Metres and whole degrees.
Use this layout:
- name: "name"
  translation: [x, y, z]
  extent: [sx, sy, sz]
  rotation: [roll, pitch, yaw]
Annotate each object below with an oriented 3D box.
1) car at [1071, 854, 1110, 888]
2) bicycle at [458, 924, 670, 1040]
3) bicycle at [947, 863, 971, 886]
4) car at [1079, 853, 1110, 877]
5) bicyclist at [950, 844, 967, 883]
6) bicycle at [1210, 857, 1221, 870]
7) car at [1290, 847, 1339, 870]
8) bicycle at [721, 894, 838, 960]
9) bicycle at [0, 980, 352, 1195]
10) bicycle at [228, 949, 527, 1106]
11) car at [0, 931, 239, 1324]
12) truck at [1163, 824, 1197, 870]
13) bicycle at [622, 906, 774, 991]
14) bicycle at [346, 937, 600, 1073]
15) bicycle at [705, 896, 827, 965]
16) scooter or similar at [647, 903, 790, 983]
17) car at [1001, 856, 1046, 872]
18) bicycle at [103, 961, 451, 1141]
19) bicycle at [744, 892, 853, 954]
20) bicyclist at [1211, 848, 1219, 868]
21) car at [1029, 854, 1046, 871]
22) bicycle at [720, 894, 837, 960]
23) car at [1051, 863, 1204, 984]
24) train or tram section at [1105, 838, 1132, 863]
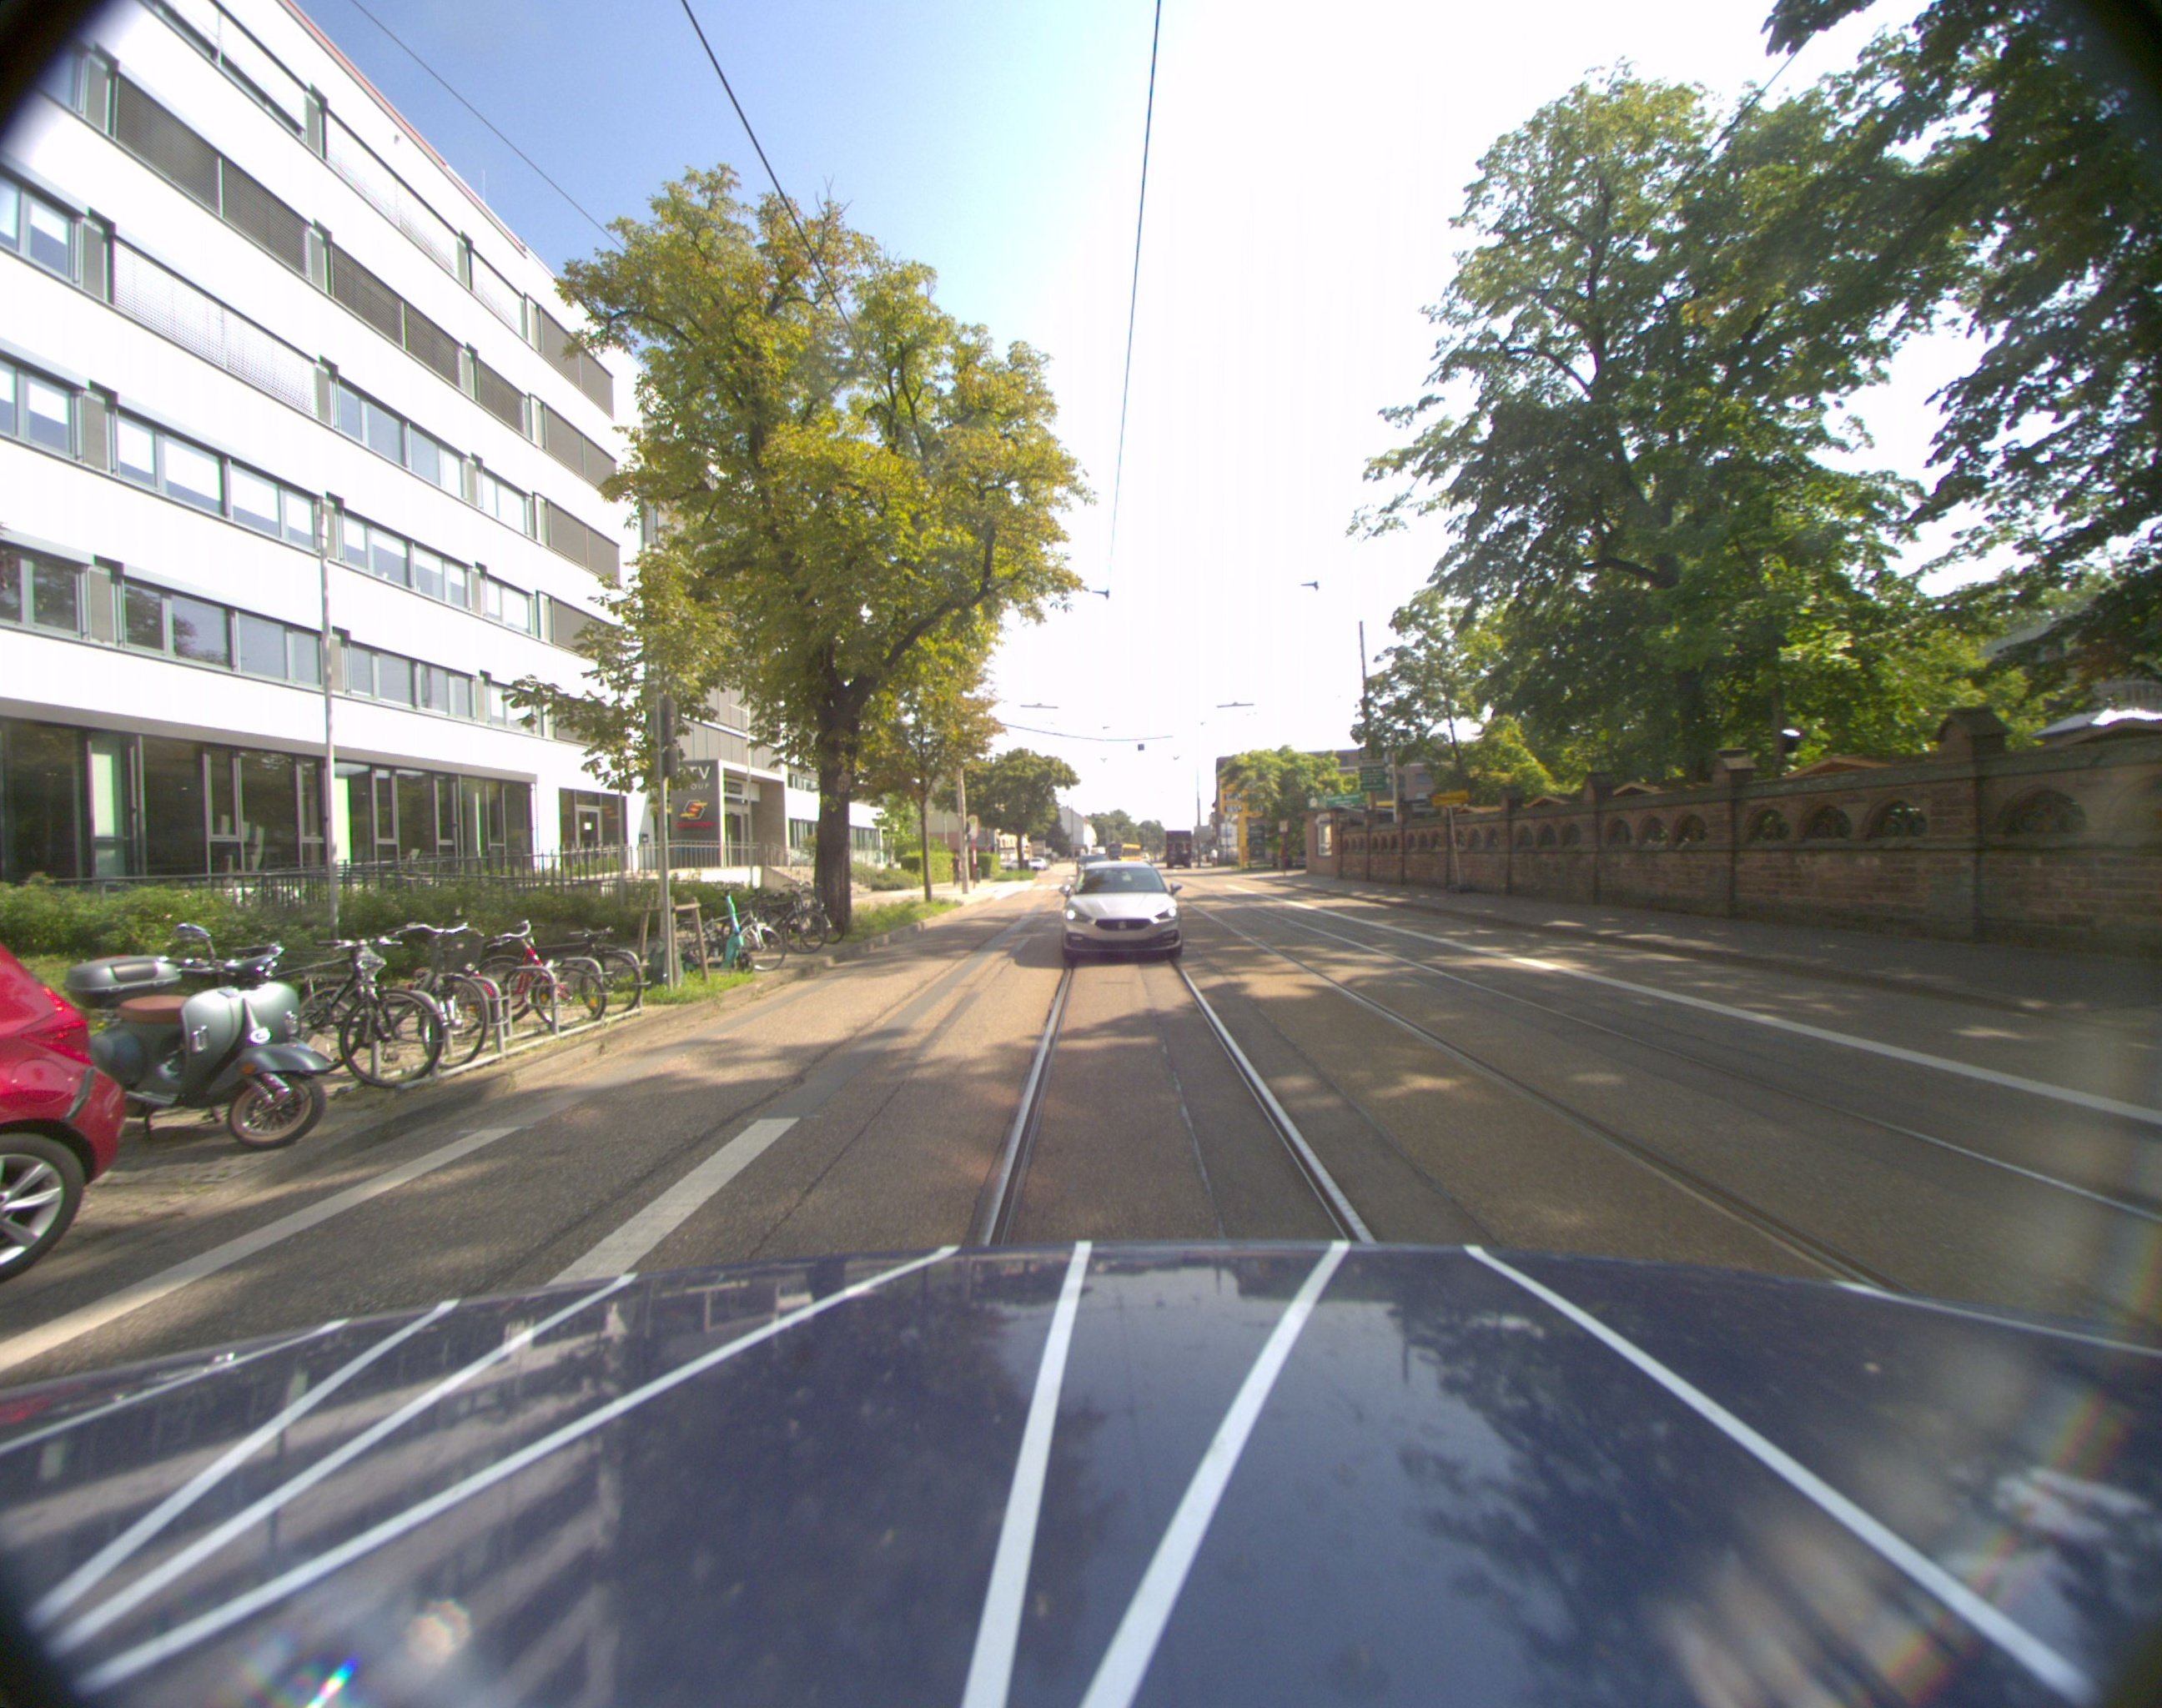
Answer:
- name: "car"
  translation: [0.514, 0.801, 38.506]
  extent: [1.834, 1.543, 4.033]
  rotation: [-2, 0, 1]
- name: "bicycle"
  translation: [-5.232, 1.286, 7.737]
  extent: [1.775, 1.065, 0.540]
  rotation: [-1, 1, 1]
- name: "bicycle"
  translation: [-6.431, 1.048, 40.031]
  extent: [1.139, 1.118, 2.534]
  rotation: [-2, 0, -9]
- name: "car"
  translation: [1.100, 0.790, 58.855]
  extent: [2.260, 1.660, 5.653]
  rotation: [-2, 0, 2]
- name: "bicyclist"
  translation: [-6.432, 0.477, 39.921]
  extent: [0.783, 2.002, 1.273]
  rotation: [-2, 1, -9]
- name: "bicycle"
  translation: [12.842, 0.923, 72.503]
  extent: [0.787, 1.233, 2.036]
  rotation: [-2, -1, 14]
- name: "car"
  translation: [16.340, 0.277, 53.029]
  extent: [1.932, 1.452, 4.536]
  rotation: [-2, 1, 36]
- name: "bicycle"
  translation: [-5.195, 1.252, 13.142]
  extent: [1.775, 1.065, 0.540]
  rotation: [-1, 1, 1]
- name: "bicycle"
  translation: [-5.355, 1.311, 4.377]
  extent: [1.775, 1.065, 0.540]
  rotation: [-1, 1, 1]
- name: "bicycle"
  translation: [-5.343, 1.301, 5.826]
  extent: [1.775, 1.065, 0.540]
  rotation: [-1, 1, 1]
- name: "car"
  translation: [-5.163, 1.135, 1.671]
  extent: [1.760, 1.453, 4.275]
  rotation: [-1, 0, 2]
- name: "truck"
  translation: [10.820, -0.801, 82.786]
  extent: [3.171, 4.427, 16.848]
  rotation: [-2, 0, 8]
- name: "bicycle"
  translation: [-5.174, 1.268, 10.319]
  extent: [1.775, 1.065, 0.540]
  rotation: [-1, 1, 1]
- name: "bicycle"
  translation: [-5.267, 1.294, 6.635]
  extent: [1.775, 1.065, 0.540]
  rotation: [-1, 1, 1]
- name: "bicycle"
  translation: [-5.182, 1.255, 12.541]
  extent: [1.775, 1.065, 0.540]
  rotation: [-1, 1, 1]
- name: "scooter or similar"
  translation: [-5.175, 1.265, 10.907]
  extent: [1.775, 1.065, 0.540]
  rotation: [-1, 1, 1]
- name: "car"
  translation: [-5.944, 1.025, 78.625]
  extent: [4.552, 1.506, 1.961]
  rotation: [-2, 1, -3]
- name: "bicycle"
  translation: [-5.392, 1.307, 5.153]
  extent: [1.775, 1.065, 0.540]
  rotation: [-1, 1, 1]
- name: "bicycle"
  translation: [-5.125, 1.246, 13.836]
  extent: [1.775, 1.065, 0.540]
  rotation: [-1, 1, 1]
- name: "bicyclist"
  translation: [12.821, 0.377, 72.518]
  extent: [0.642, 1.918, 1.176]
  rotation: [-2, 1, 13]
- name: "car"
  translation: [-5.342, 1.049, 92.641]
  extent: [1.960, 1.910, 4.552]
  rotation: [-2, 0, -3]
- name: "bicycle"
  translation: [-5.206, 1.253, 13.120]
  extent: [1.775, 1.065, 0.540]
  rotation: [-1, 1, 1]
- name: "car"
  translation: [0.661, 0.930, 12.223]
  extent: [1.928, 1.465, 4.817]
  rotation: [-2, 0, 1]
- name: "train or tram section"
  translation: [6.450, -0.623, 129.624]
  extent: [4.111, 3.711, 24.381]
  rotation: [-2, 0, 3]
